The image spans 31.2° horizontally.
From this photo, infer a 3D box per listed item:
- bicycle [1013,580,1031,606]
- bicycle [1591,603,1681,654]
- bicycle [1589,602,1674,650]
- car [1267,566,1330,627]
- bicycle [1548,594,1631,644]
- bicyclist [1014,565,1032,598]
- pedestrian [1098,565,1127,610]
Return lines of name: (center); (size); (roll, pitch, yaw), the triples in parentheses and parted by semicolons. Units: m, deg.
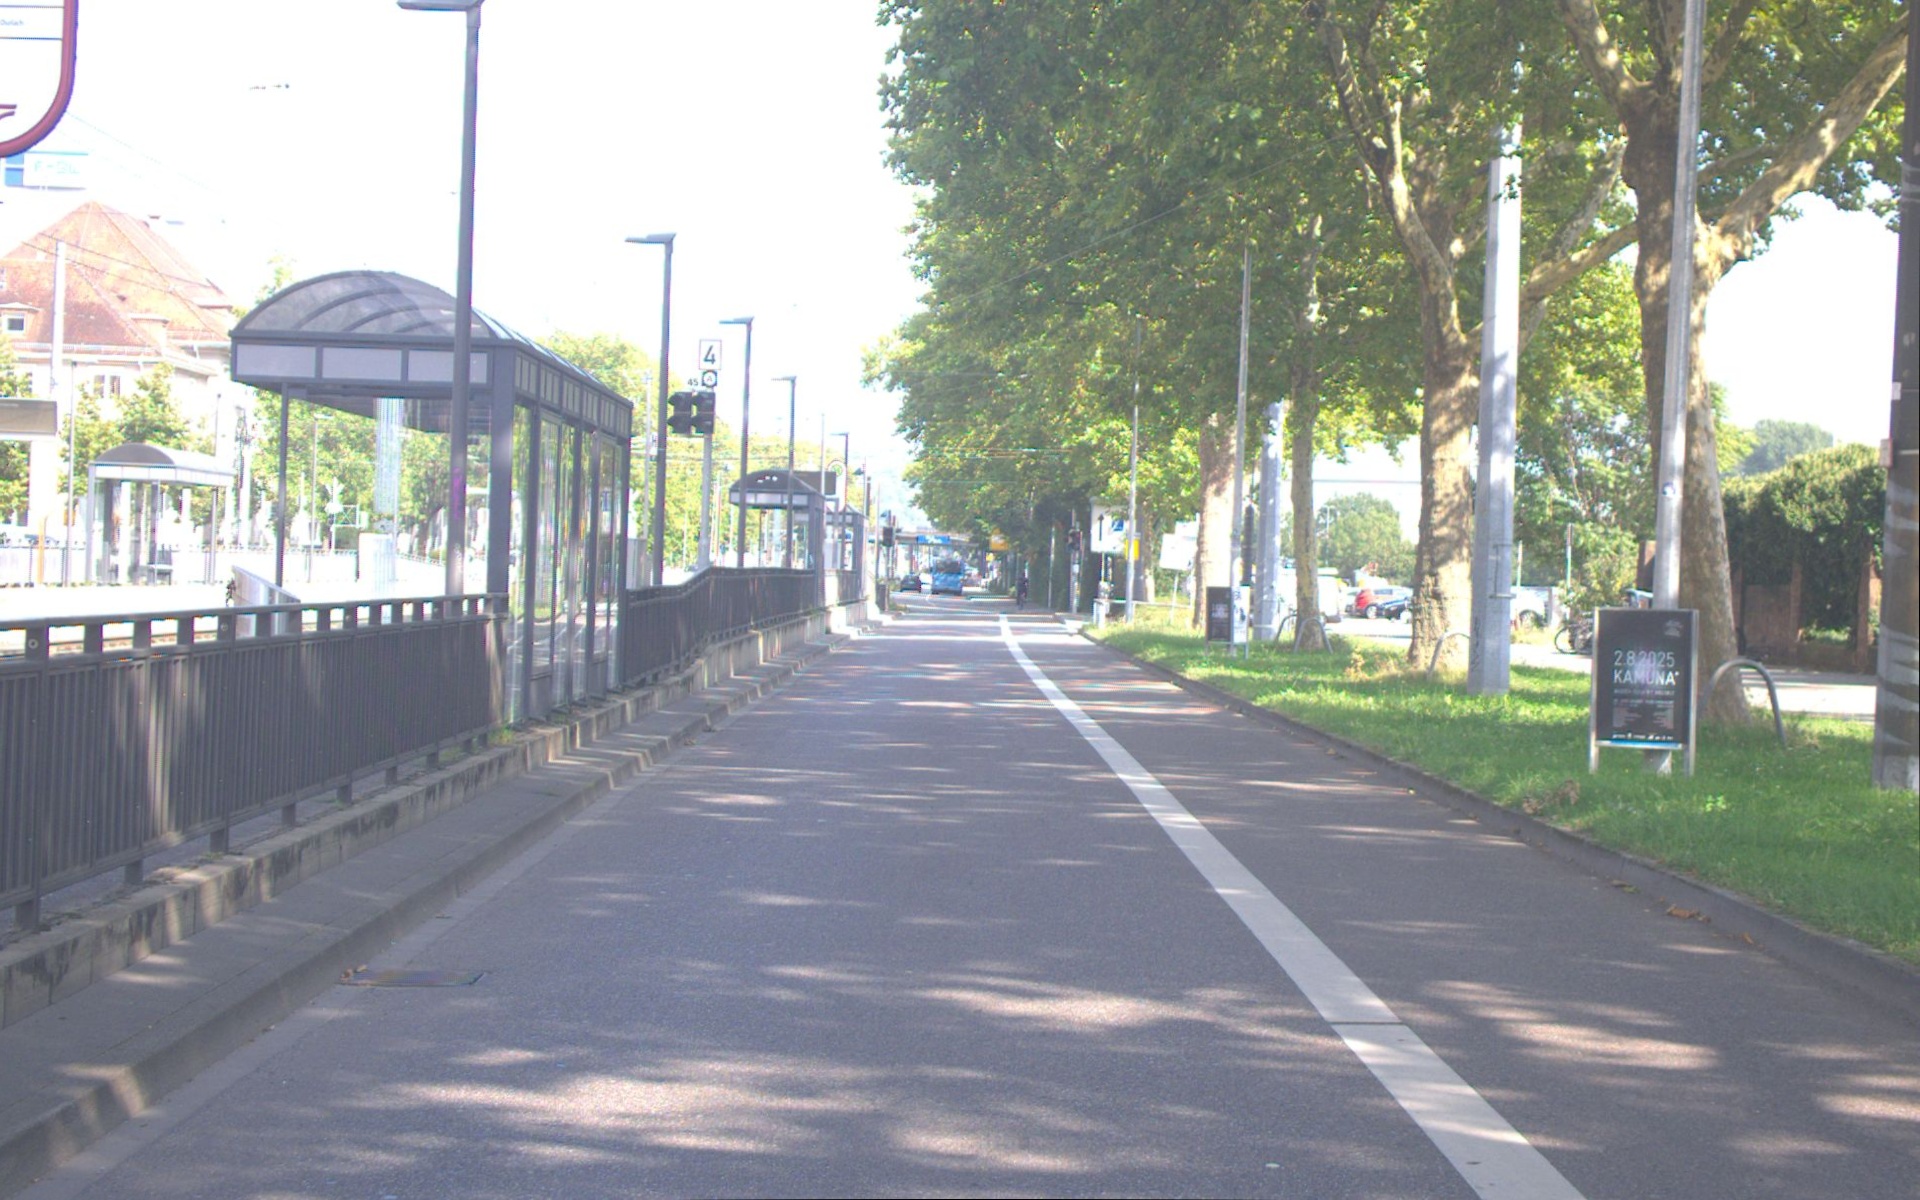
bicycle: (2.788, -0.308, 154.528); (0.715, 1.104, 2.509); (3, 0, 0)
bicycle: (13.004, 0.542, 66.119); (1.656, 0.966, 0.506); (0, 0, 6)
bicycle: (13.771, 0.530, 70.555); (1.656, 0.966, 0.506); (0, 0, 3)
car: (11.842, -0.132, 120.374); (1.722, 2.041, 4.461); (2, 1, 0)
bicycle: (12.568, 0.368, 68.675); (0.505, 0.966, 1.661); (0, 1, -41)
bicyclist: (2.818, -0.825, 154.382); (0.705, 1.456, 1.009); (3, 0, 0)
pedestrian: (5.478, -0.450, 123.535); (0.626, 1.612, 0.843); (2, 1, 38)
